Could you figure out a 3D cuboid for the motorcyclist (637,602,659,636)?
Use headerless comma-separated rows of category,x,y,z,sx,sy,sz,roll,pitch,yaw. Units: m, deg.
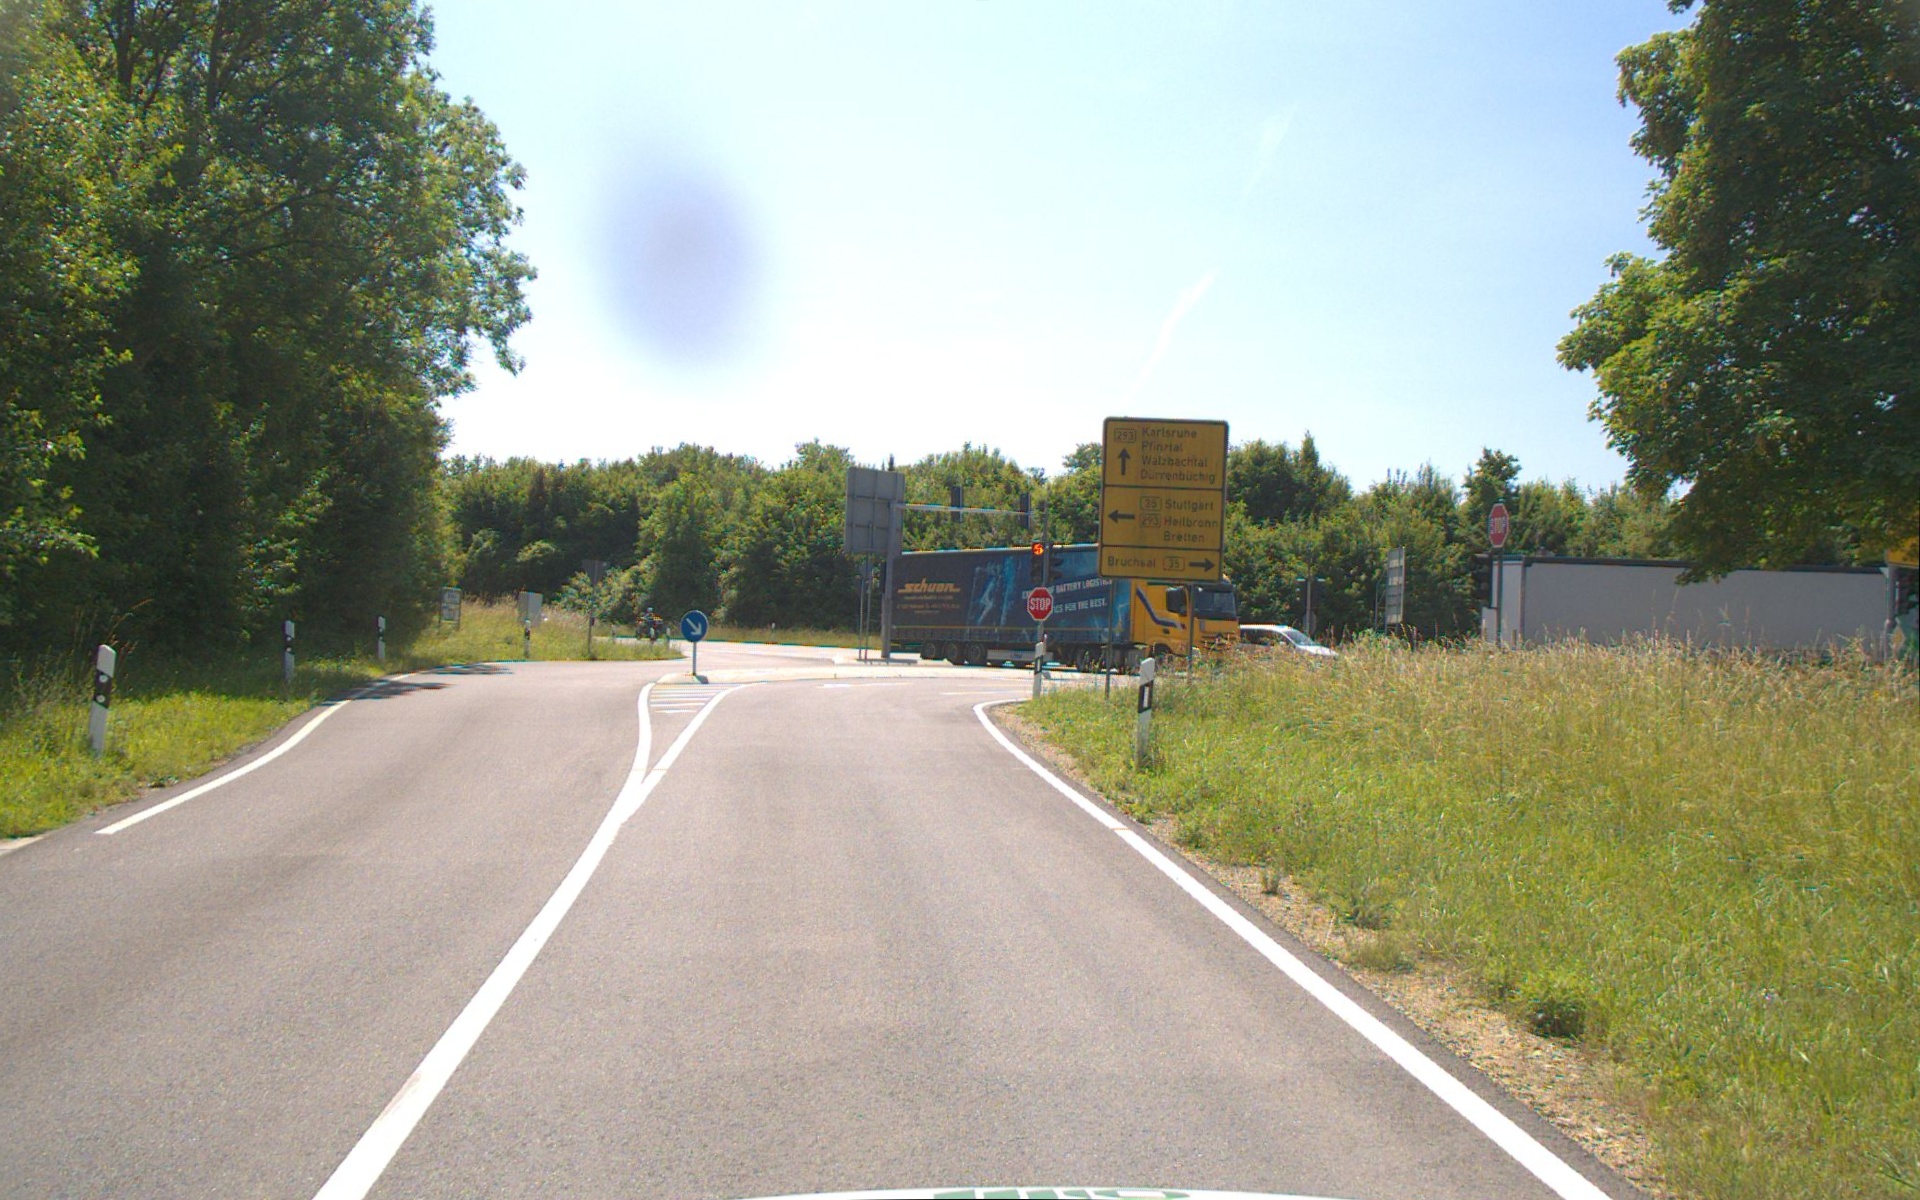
motorcyclist,-17.204,1.065,91.166,0.882,1.875,0.835,-1,-1,40

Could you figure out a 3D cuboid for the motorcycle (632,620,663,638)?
motorcycle,-17.203,1.625,91.143,1.839,0.980,0.726,-1,-1,42

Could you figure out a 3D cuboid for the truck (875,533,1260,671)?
truck,3.097,0.019,57.538,2.824,4.204,16.574,2,-1,-39

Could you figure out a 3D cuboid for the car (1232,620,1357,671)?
car,10.901,1.458,53.952,3.620,1.603,1.717,-1,0,39

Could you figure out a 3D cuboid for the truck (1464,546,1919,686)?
truck,24.783,0.610,54.398,16.342,4.246,3.125,1,-1,-13
